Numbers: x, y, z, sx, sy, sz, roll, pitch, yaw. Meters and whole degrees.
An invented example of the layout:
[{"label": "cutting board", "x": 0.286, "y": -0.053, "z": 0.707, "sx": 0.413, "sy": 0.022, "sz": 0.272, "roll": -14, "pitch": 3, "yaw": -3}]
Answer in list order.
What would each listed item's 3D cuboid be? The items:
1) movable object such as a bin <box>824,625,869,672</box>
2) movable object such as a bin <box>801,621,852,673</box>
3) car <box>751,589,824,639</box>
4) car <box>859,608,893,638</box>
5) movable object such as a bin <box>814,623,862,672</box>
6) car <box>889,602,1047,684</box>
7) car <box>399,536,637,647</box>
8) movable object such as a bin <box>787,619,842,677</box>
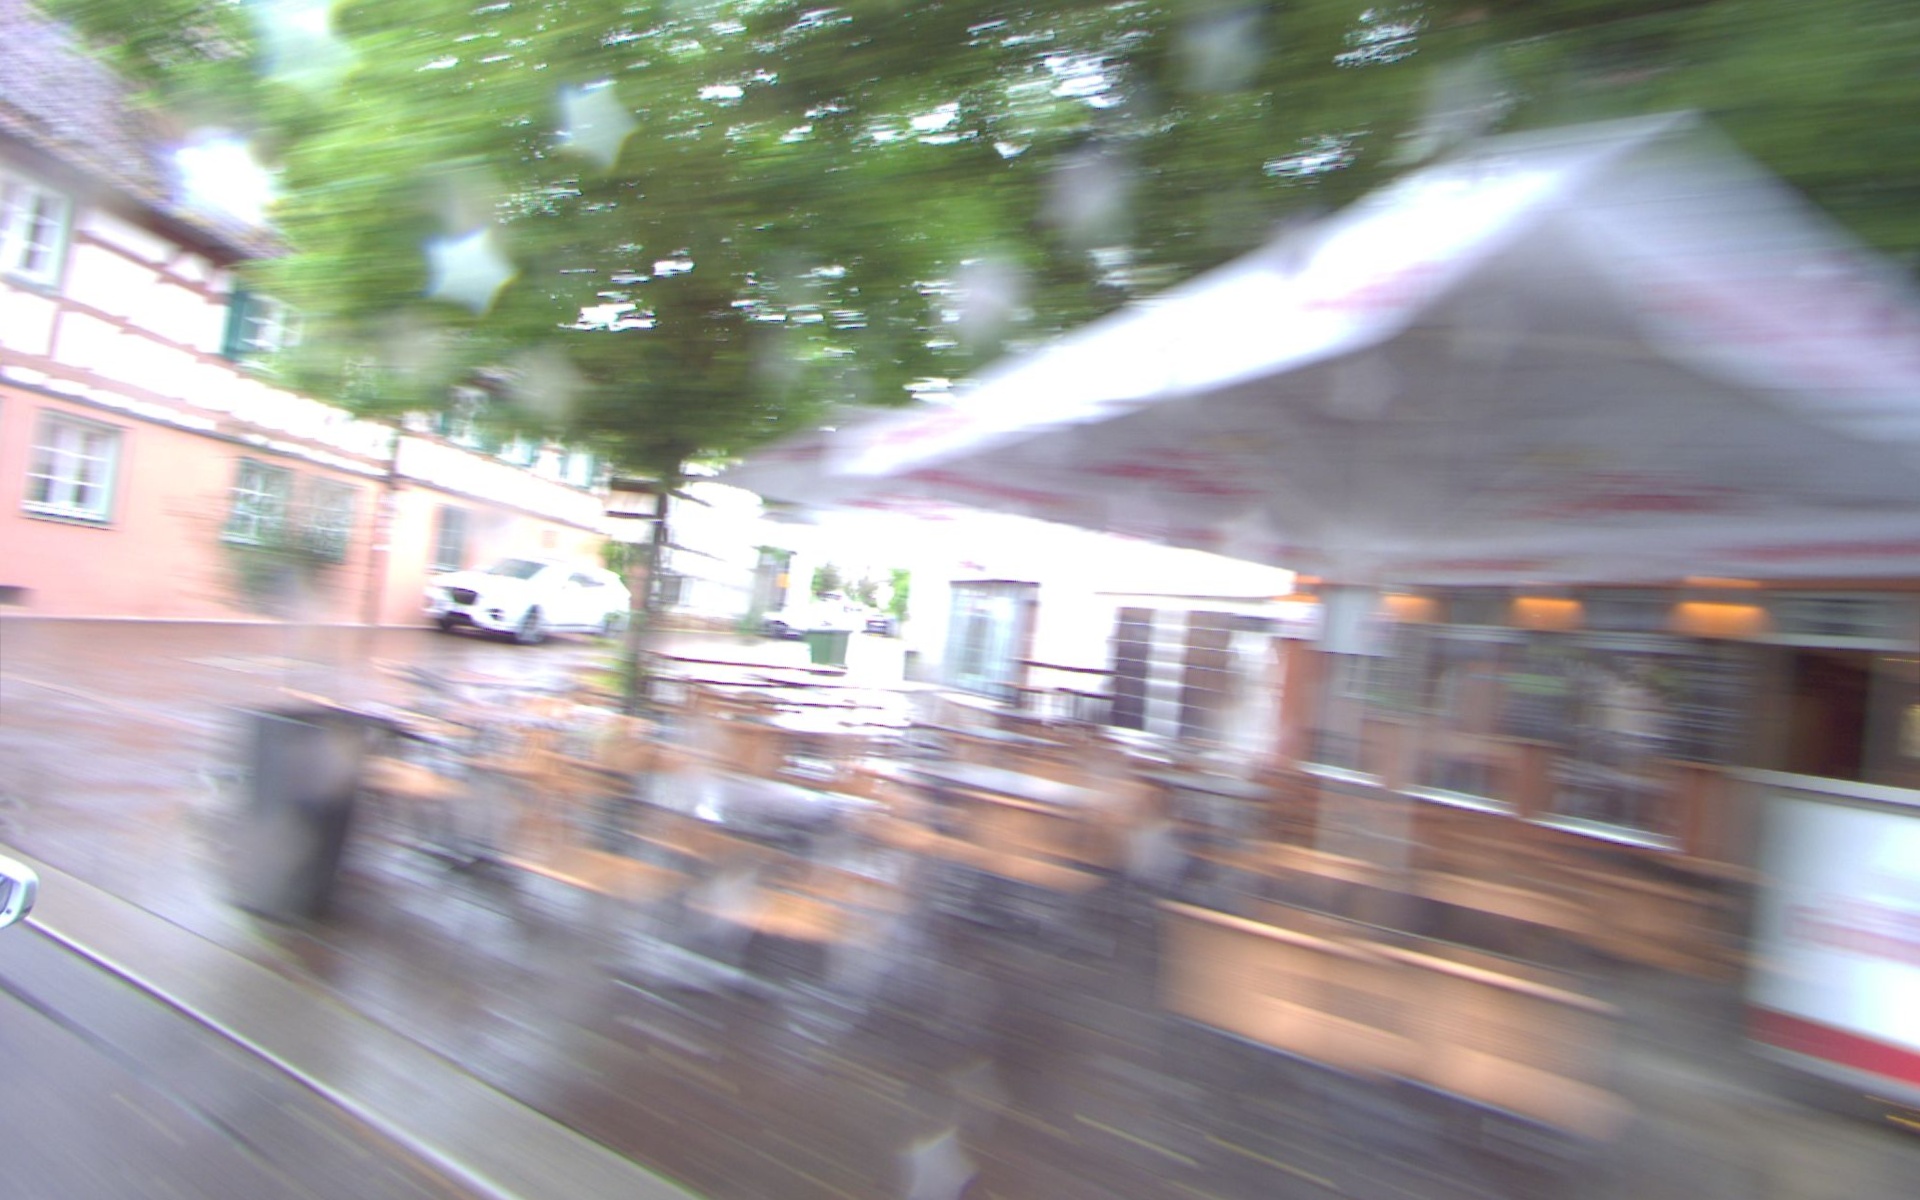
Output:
[{"label": "movable object such as a bin", "x": -2.745, "y": 1.183, "z": 24.393, "sx": 0.841, "sy": 1.037, "sz": 0.699, "roll": 6, "pitch": -3, "yaw": 9}, {"label": "movable object such as a bin", "x": -3.014, "y": 1.073, "z": 22.787, "sx": 0.841, "sy": 1.034, "sz": 0.832, "roll": 6, "pitch": -3, "yaw": 9}, {"label": "car", "x": -7.080, "y": 0.618, "z": 41.770, "sx": 1.964, "sy": 1.652, "sz": 4.617, "roll": 9, "pitch": -1, "yaw": 1}, {"label": "car", "x": -5.629, "y": 1.510, "z": 68.006, "sx": 1.965, "sy": 1.652, "sz": 4.614, "roll": 9, "pitch": -1, "yaw": -3}, {"label": "movable object such as a bin", "x": -2.859, "y": 1.121, "z": 23.659, "sx": 0.841, "sy": 1.037, "sz": 0.699, "roll": 6, "pitch": -3, "yaw": 9}, {"label": "car", "x": 0.177, "y": 1.177, "z": 27.809, "sx": 4.008, "sy": 1.866, "sz": 1.896, "roll": 5, "pitch": -2, "yaw": -9}, {"label": "car", "x": -8.650, "y": -0.054, "z": 20.253, "sx": 1.962, "sy": 1.652, "sz": 4.621, "roll": 9, "pitch": -1, "yaw": 10}, {"label": "movable object such as a bin", "x": -3.152, "y": 1.048, "z": 21.847, "sx": 0.841, "sy": 1.123, "sz": 0.881, "roll": 6, "pitch": -3, "yaw": 9}]
